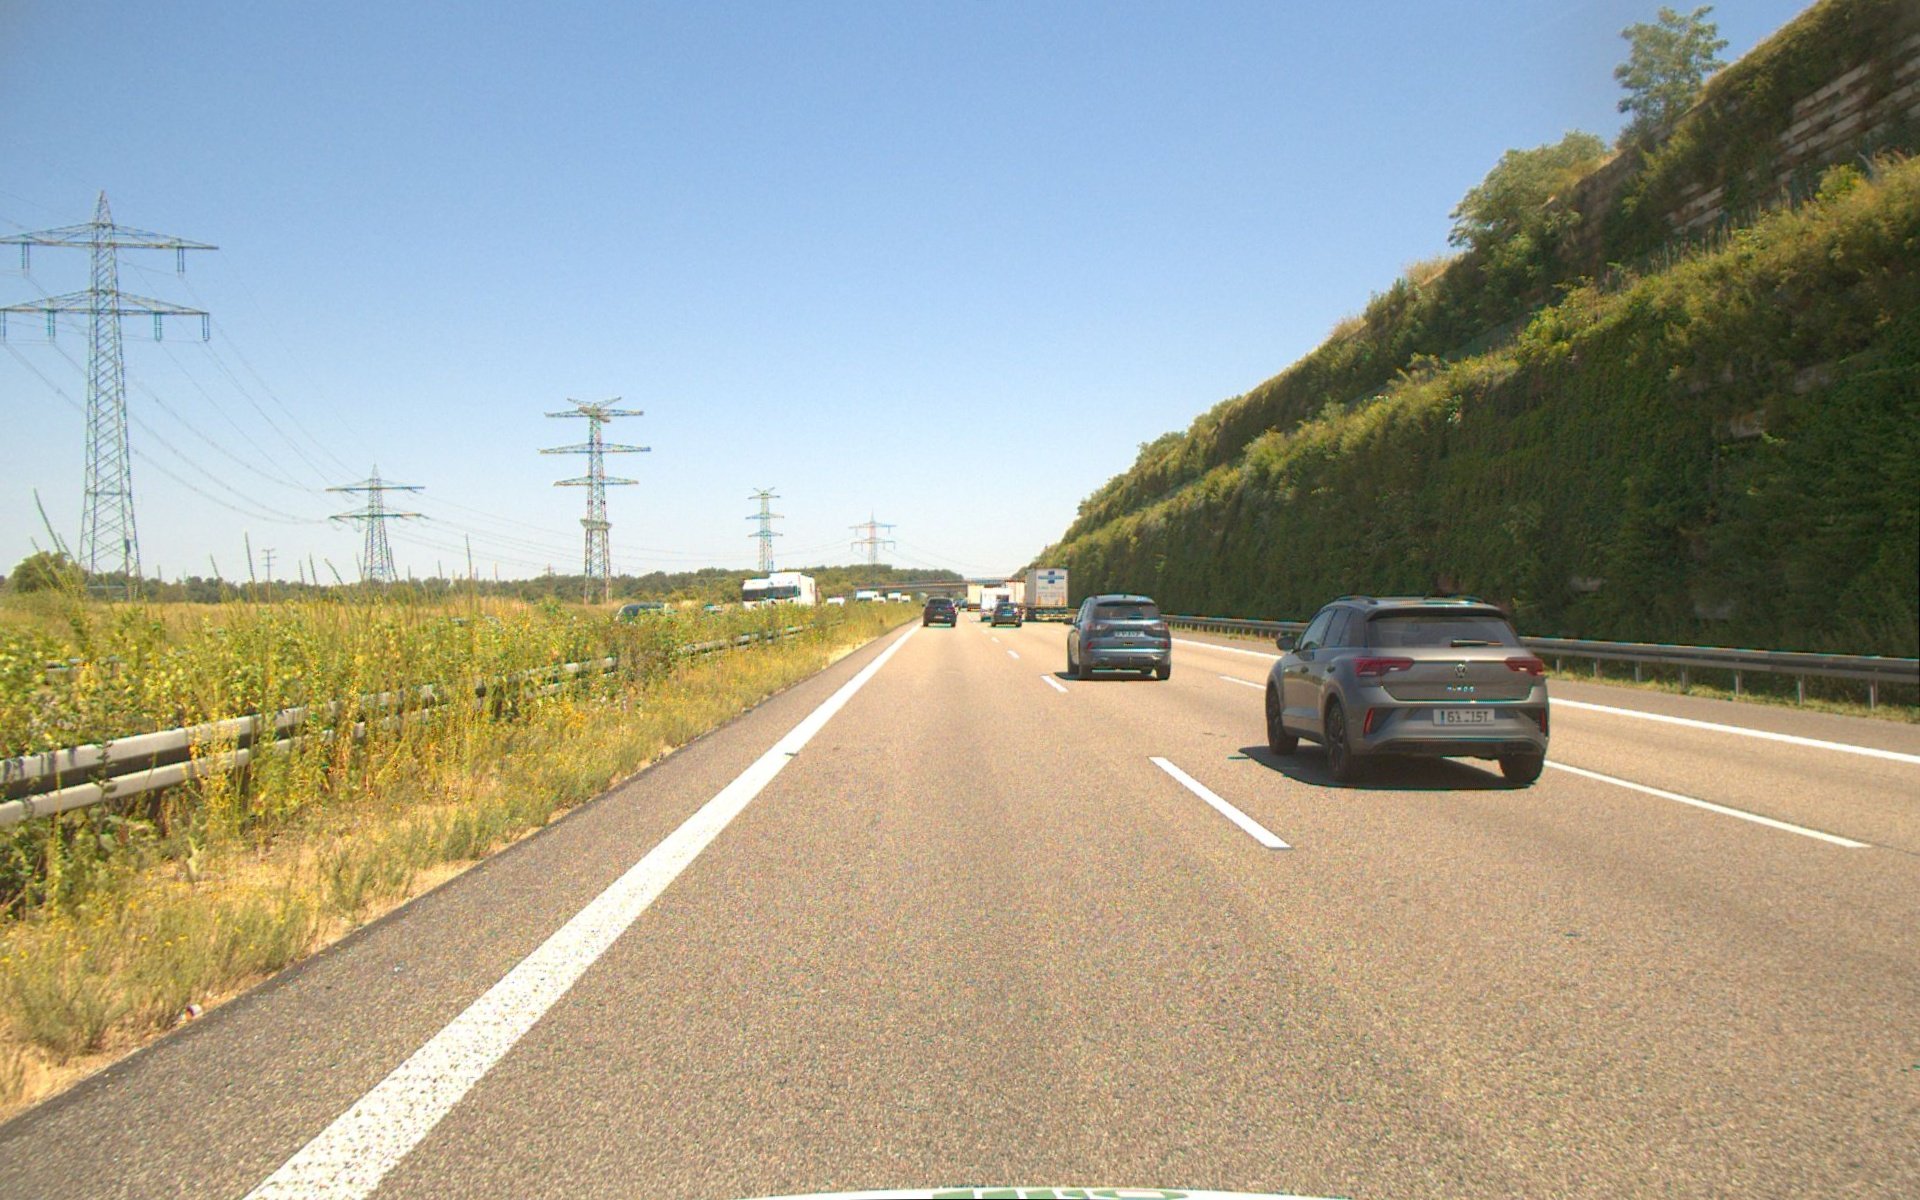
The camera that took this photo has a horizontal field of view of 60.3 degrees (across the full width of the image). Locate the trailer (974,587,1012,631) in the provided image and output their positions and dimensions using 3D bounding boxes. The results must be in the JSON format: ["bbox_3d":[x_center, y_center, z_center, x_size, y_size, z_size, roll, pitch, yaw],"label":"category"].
[{"bbox_3d":[2.543,0.686,128.823,2.557,3.269,9.950,-1,0,-1],"label":"trailer"}]

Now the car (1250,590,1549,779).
[{"bbox_3d":[4.012,0.703,15.773,1.713,1.552,3.994,-1,0,-1],"label":"car"}]

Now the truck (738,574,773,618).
[{"bbox_3d":[-18.466,-0.343,149.597,2.720,3.920,5.567,0,0,-3],"label":"truck"}]

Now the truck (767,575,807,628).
[{"bbox_3d":[-14.014,0.124,134.395,2.748,4.231,5.569,0,0,-1],"label":"truck"}]

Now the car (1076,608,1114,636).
[{"bbox_3d":[7.338,1.179,90.055,1.650,1.453,4.452,0,0,-1],"label":"car"}]

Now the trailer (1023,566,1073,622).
[{"bbox_3d":[6.933,-0.444,131.770,3.118,4.193,13.429,-1,0,0],"label":"trailer"}]

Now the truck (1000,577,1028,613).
[{"bbox_3d":[6.702,-0.609,207.187,3.055,4.355,11.932,-1,0,0],"label":"truck"}]

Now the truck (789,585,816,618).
[{"bbox_3d":[-18.697,0.155,196.814,2.669,3.793,5.645,-1,0,-1],"label":"truck"}]

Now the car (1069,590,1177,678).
[{"bbox_3d":[3.264,0.659,33.813,1.757,1.682,4.137,0,0,-1],"label":"car"}]

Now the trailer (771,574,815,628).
[{"bbox_3d":[-14.159,0.083,141.592,2.713,4.426,14.235,0,0,-2],"label":"trailer"}]

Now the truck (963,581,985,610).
[{"bbox_3d":[2.129,-0.722,259.910,3.340,4.355,10.606,-1,0,0],"label":"truck"}]

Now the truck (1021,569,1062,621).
[{"bbox_3d":[6.814,-0.445,138.584,3.072,4.214,5.503,-1,0,0],"label":"truck"}]

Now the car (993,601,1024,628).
[{"bbox_3d":[2.952,0.868,101.393,1.792,1.552,4.000,-1,0,0],"label":"car"}]

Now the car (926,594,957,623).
[{"bbox_3d":[-1.140,0.518,99.677,1.792,1.700,3.999,-1,0,-1],"label":"car"}]
